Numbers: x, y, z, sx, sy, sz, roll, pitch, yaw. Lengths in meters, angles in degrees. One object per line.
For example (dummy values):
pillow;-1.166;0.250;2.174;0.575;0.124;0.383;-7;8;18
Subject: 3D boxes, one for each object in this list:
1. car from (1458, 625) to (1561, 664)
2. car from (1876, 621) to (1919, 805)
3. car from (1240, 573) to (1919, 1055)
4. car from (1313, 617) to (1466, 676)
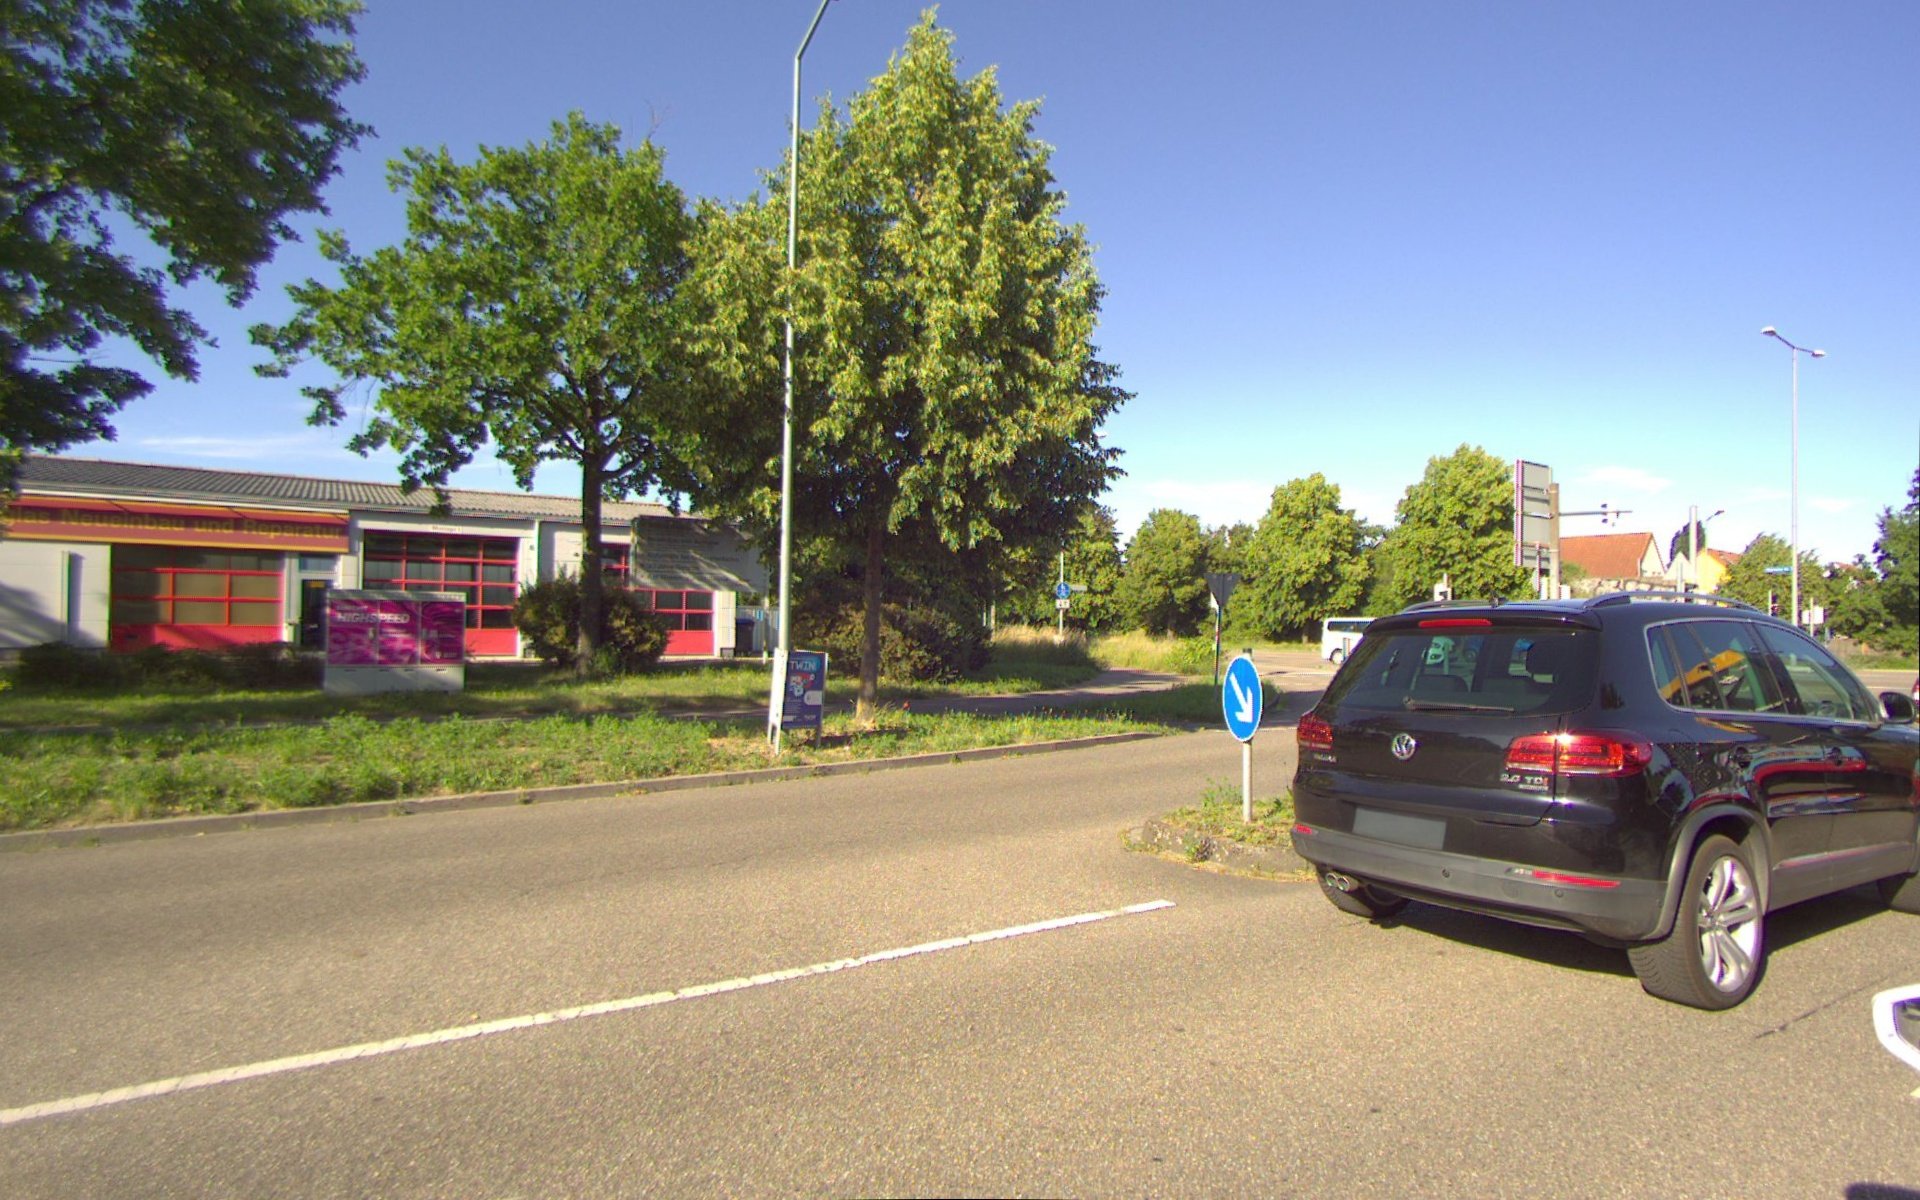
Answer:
car;23.750;1.905;43.488;1.733;1.581;3.559;2;-2;-35
car;10.404;1.010;9.306;3.954;1.610;1.753;1;-3;-31
car;3.548;0.822;5.304;3.954;1.675;1.763;1;-3;-31
car;17.233;1.797;40.593;2.160;2.146;5.350;2;-1;-35
